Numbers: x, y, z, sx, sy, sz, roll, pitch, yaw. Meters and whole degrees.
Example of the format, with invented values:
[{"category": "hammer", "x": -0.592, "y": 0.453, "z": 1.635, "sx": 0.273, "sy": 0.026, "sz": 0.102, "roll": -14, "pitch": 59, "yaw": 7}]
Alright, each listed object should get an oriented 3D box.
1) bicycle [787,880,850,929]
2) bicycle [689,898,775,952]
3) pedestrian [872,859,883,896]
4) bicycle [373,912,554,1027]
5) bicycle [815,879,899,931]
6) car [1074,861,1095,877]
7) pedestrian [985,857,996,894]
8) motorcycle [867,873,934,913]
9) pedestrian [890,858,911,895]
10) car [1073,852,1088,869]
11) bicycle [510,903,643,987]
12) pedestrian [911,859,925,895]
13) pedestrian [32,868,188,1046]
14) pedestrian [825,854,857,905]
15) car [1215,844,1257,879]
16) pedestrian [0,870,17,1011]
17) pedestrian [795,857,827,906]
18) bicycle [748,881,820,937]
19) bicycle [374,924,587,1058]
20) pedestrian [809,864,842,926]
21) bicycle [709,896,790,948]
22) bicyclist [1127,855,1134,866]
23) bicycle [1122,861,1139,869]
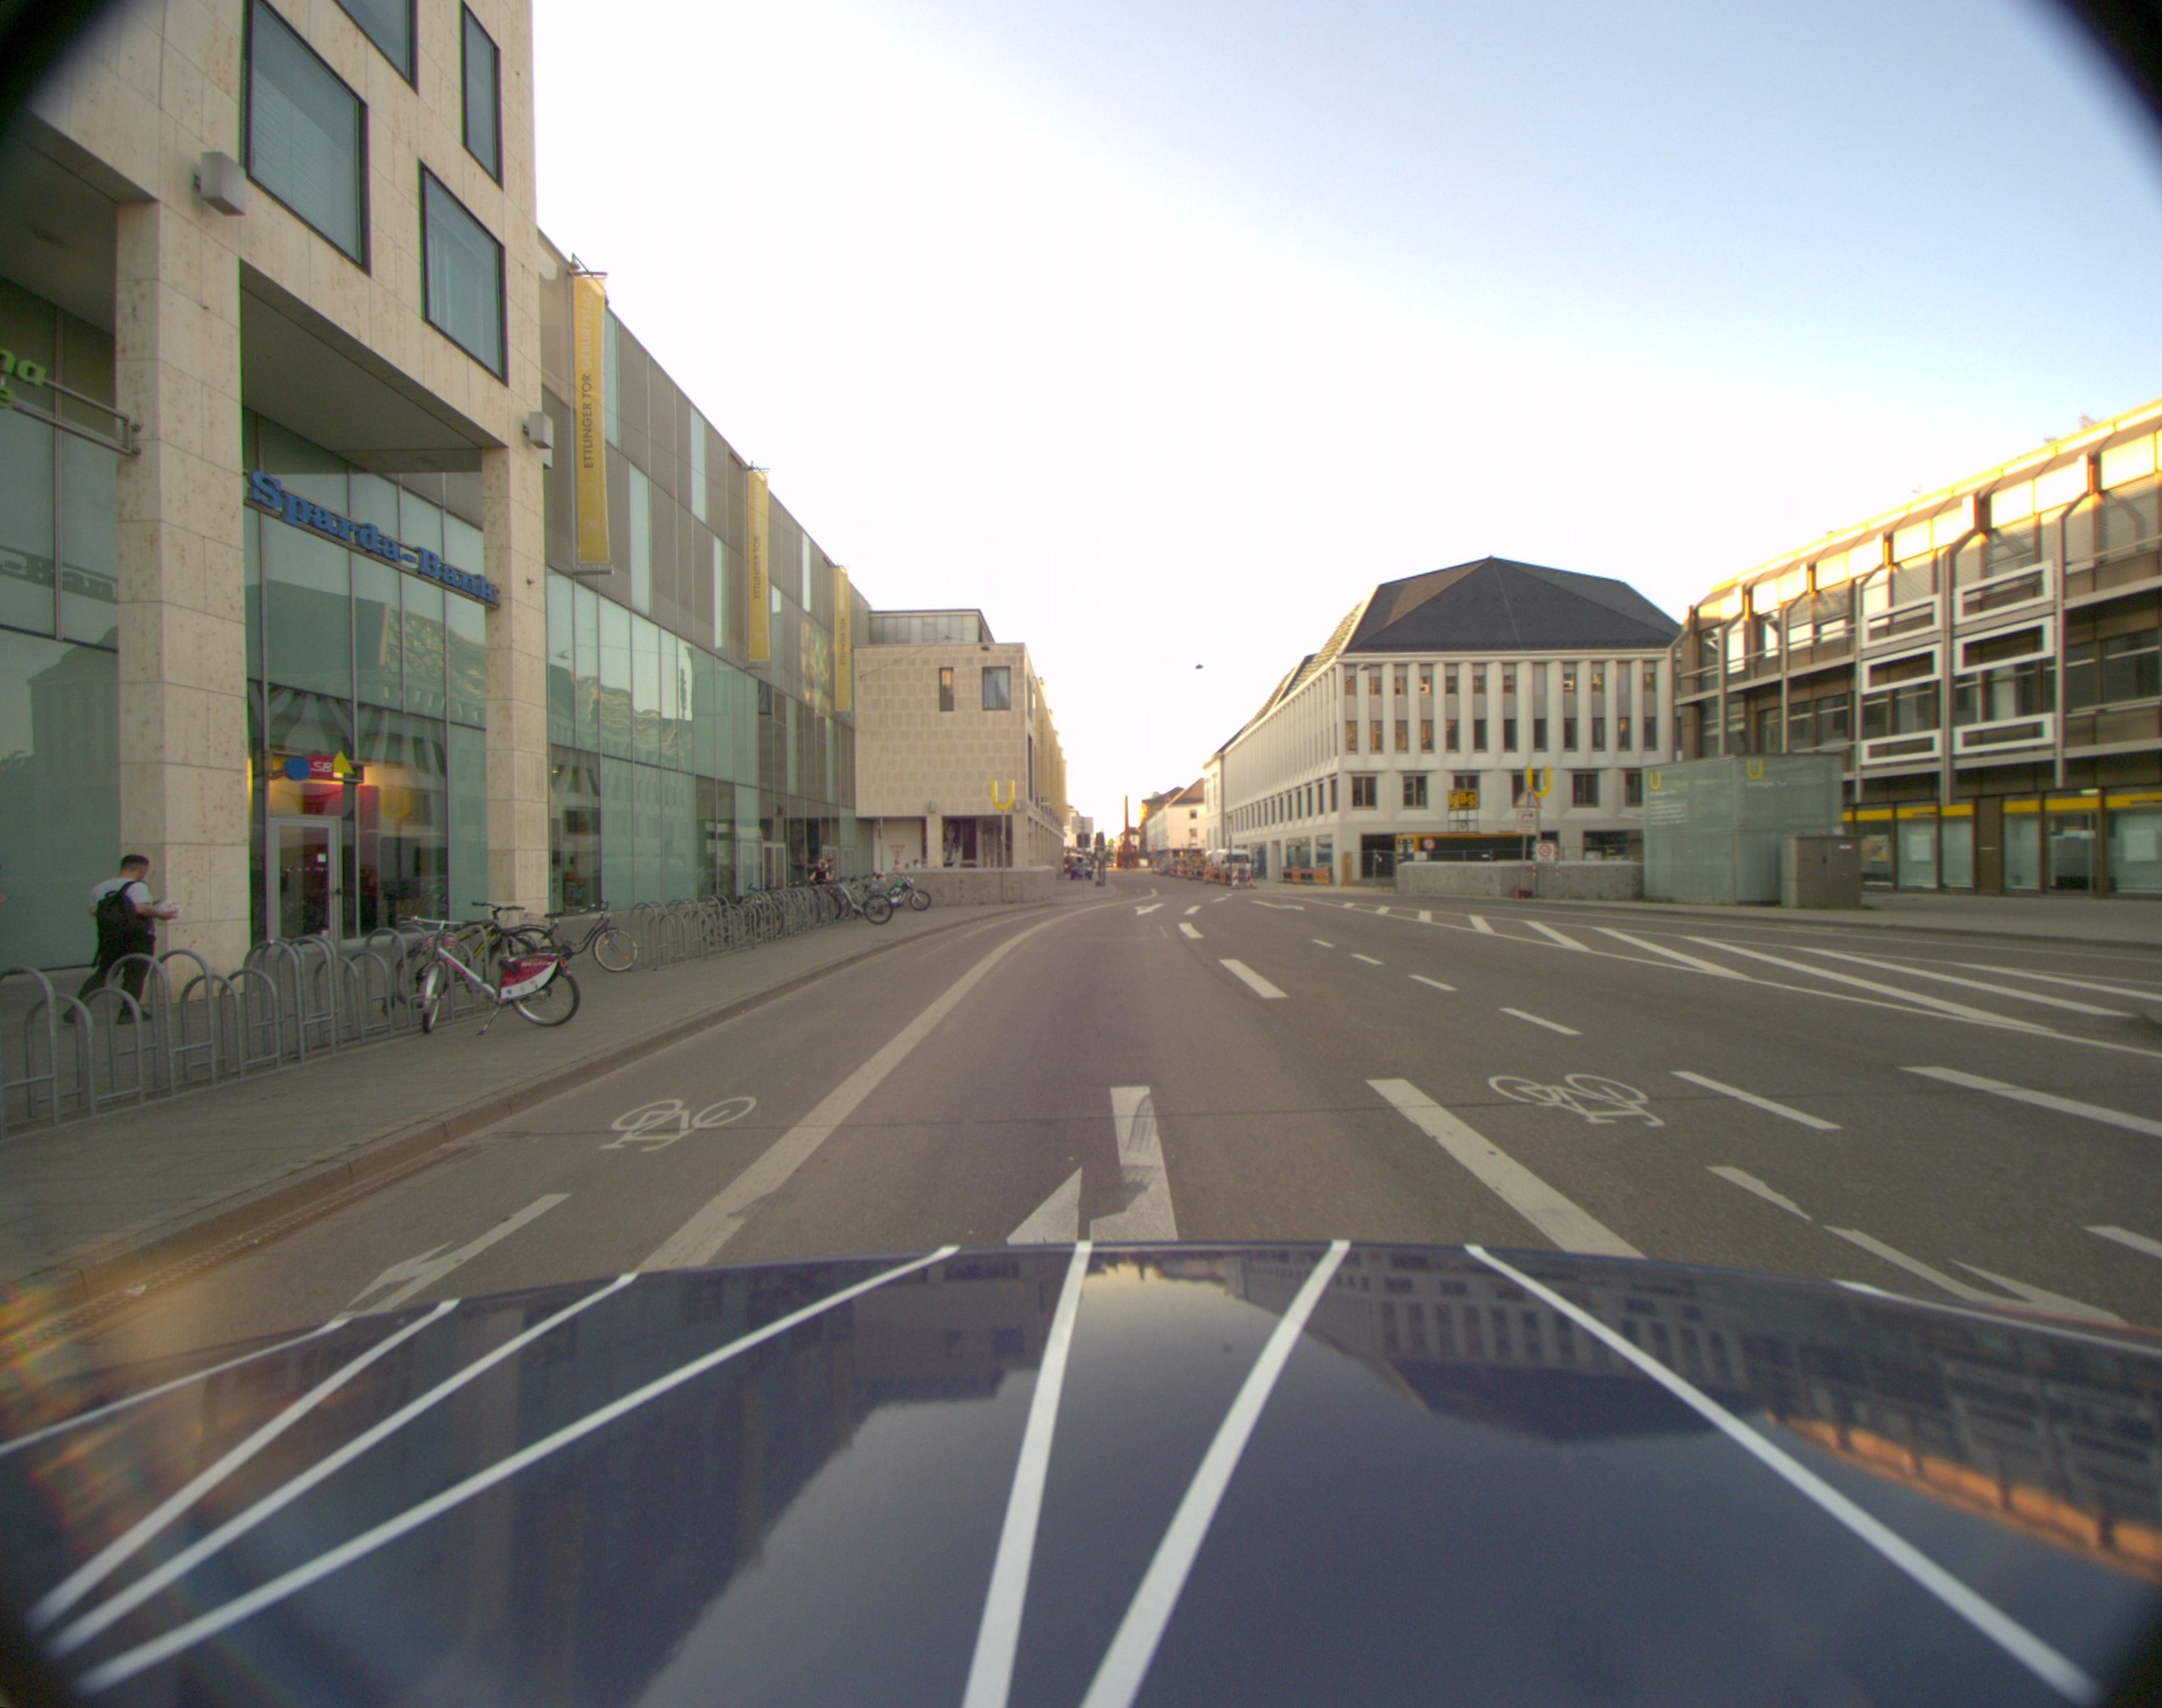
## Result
[{"category": "bicycle", "x": -6.600, "y": 1.264, "z": 19.161, "sx": 1.345, "sy": 1.157, "sz": 0.518, "roll": -3, "pitch": 0, "yaw": -1}, {"category": "bicycle", "x": -6.652, "y": 1.342, "z": 14.501, "sx": 1.345, "sy": 0.927, "sz": 0.518, "roll": -3, "pitch": 0, "yaw": -1}, {"category": "pedestrian", "x": -9.623, "y": 1.123, "z": 35.926, "sx": 0.364, "sy": 1.733, "sz": 0.452, "roll": -1, "pitch": 0, "yaw": 3}, {"category": "bicycle", "x": -6.795, "y": 1.256, "z": 8.390, "sx": 1.518, "sy": 1.117, "sz": 0.581, "roll": -3, "pitch": 0, "yaw": 4}, {"category": "bicycle", "x": -5.386, "y": 1.217, "z": 18.317, "sx": 1.838, "sy": 1.140, "sz": 0.466, "roll": -3, "pitch": 0, "yaw": 1}, {"category": "car", "x": 0.341, "y": 1.301, "z": 67.844, "sx": 1.798, "sy": 1.365, "sz": 3.671, "roll": -1, "pitch": 0, "yaw": 2}, {"category": "pedestrian", "x": -4.346, "y": 1.022, "z": 36.491, "sx": 0.454, "sy": 1.733, "sz": 0.493, "roll": -1, "pitch": 0, "yaw": 3}, {"category": "motorcycle", "x": -5.707, "y": 1.241, "z": 24.082, "sx": 2.007, "sy": 1.217, "sz": 0.480, "roll": -1, "pitch": 0, "yaw": -2}, {"category": "pedestrian", "x": -8.597, "y": 1.076, "z": 36.228, "sx": 0.793, "sy": 1.733, "sz": 0.657, "roll": -1, "pitch": 0, "yaw": 3}, {"category": "car", "x": -0.009, "y": 0.893, "z": 100.200, "sx": 1.798, "sy": 2.198, "sz": 3.671, "roll": -1, "pitch": 0, "yaw": 2}, {"category": "bicycle", "x": -7.296, "y": 1.302, "z": 11.048, "sx": 1.447, "sy": 1.058, "sz": 0.580, "roll": -3, "pitch": 0, "yaw": -10}, {"category": "pedestrian", "x": -7.838, "y": 1.109, "z": 36.567, "sx": 0.494, "sy": 1.733, "sz": 0.657, "roll": -1, "pitch": 0, "yaw": 3}, {"category": "pedestrian", "x": -9.740, "y": 0.993, "z": 7.653, "sx": 0.629, "sy": 1.682, "sz": 0.707, "roll": -1, "pitch": 0, "yaw": -5}, {"category": "pedestrian", "x": -8.231, "y": 0.858, "z": 26.031, "sx": 0.822, "sy": 1.686, "sz": 0.697, "roll": -1, "pitch": 0, "yaw": -38}, {"category": "car", "x": 11.990, "y": 0.593, "z": 59.160, "sx": 2.141, "sy": 2.540, "sz": 6.050, "roll": -1, "pitch": 0, "yaw": 1}, {"category": "pedestrian", "x": -12.984, "y": 1.013, "z": 8.689, "sx": 0.629, "sy": 1.642, "sz": 0.708, "roll": -1, "pitch": 0, "yaw": 2}, {"category": "pedestrian", "x": -9.153, "y": 0.924, "z": 25.747, "sx": 0.822, "sy": 1.638, "sz": 0.739, "roll": -1, "pitch": 0, "yaw": -38}, {"category": "bicycle", "x": -6.656, "y": 1.236, "z": 17.076, "sx": 1.345, "sy": 1.157, "sz": 0.518, "roll": -3, "pitch": 0, "yaw": -1}, {"category": "bicycle", "x": -5.396, "y": 1.216, "z": 6.864, "sx": 1.518, "sy": 1.057, "sz": 0.466, "roll": -3, "pitch": 0, "yaw": 1}, {"category": "pedestrian", "x": -6.917, "y": 1.084, "z": 20.617, "sx": 0.809, "sy": 1.633, "sz": 0.646, "roll": -1, "pitch": 0, "yaw": -18}, {"category": "bicycle", "x": -6.593, "y": 1.351, "z": 15.147, "sx": 1.345, "sy": 0.927, "sz": 0.518, "roll": -3, "pitch": 0, "yaw": -1}, {"category": "bicyclist", "x": 7.034, "y": 0.943, "z": 107.950, "sx": 0.976, "sy": 1.544, "sz": 0.974, "roll": -1, "pitch": 0, "yaw": 6}, {"category": "bicycle", "x": 7.043, "y": 1.532, "z": 107.948, "sx": 2.372, "sy": 1.052, "sz": 0.730, "roll": -1, "pitch": 0, "yaw": 6}]
